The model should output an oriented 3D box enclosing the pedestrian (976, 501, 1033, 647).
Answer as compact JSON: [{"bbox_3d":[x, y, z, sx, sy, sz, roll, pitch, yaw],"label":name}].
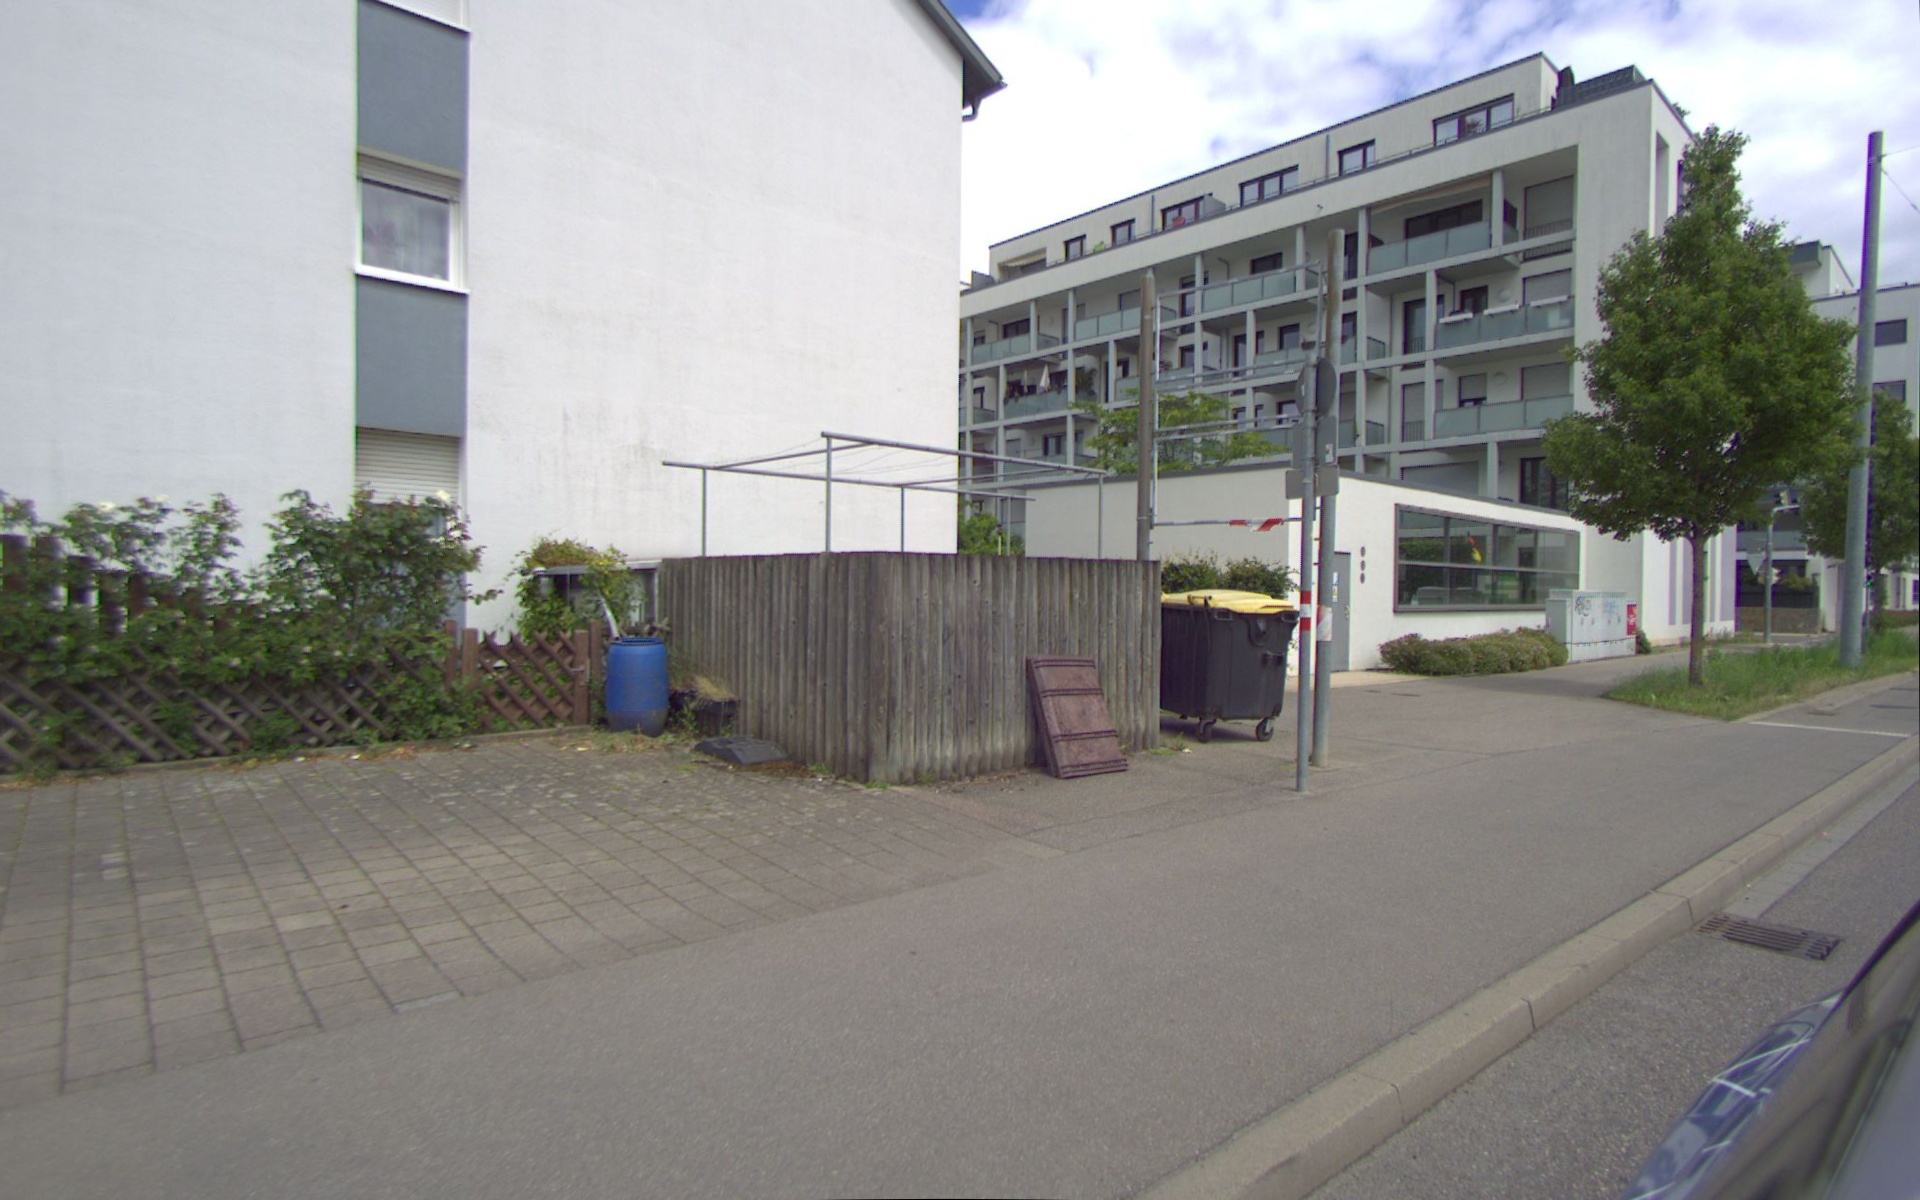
[{"bbox_3d":[0.558,-0.320,12.748,0.490,1.787,0.509,-1,-1,-24],"label":"pedestrian"}]

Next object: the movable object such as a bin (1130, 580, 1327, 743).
[{"bbox_3d":[2.494,0.510,9.511,1.225,1.378,1.326,-1,1,-25],"label":"movable object such as a bin"}]
